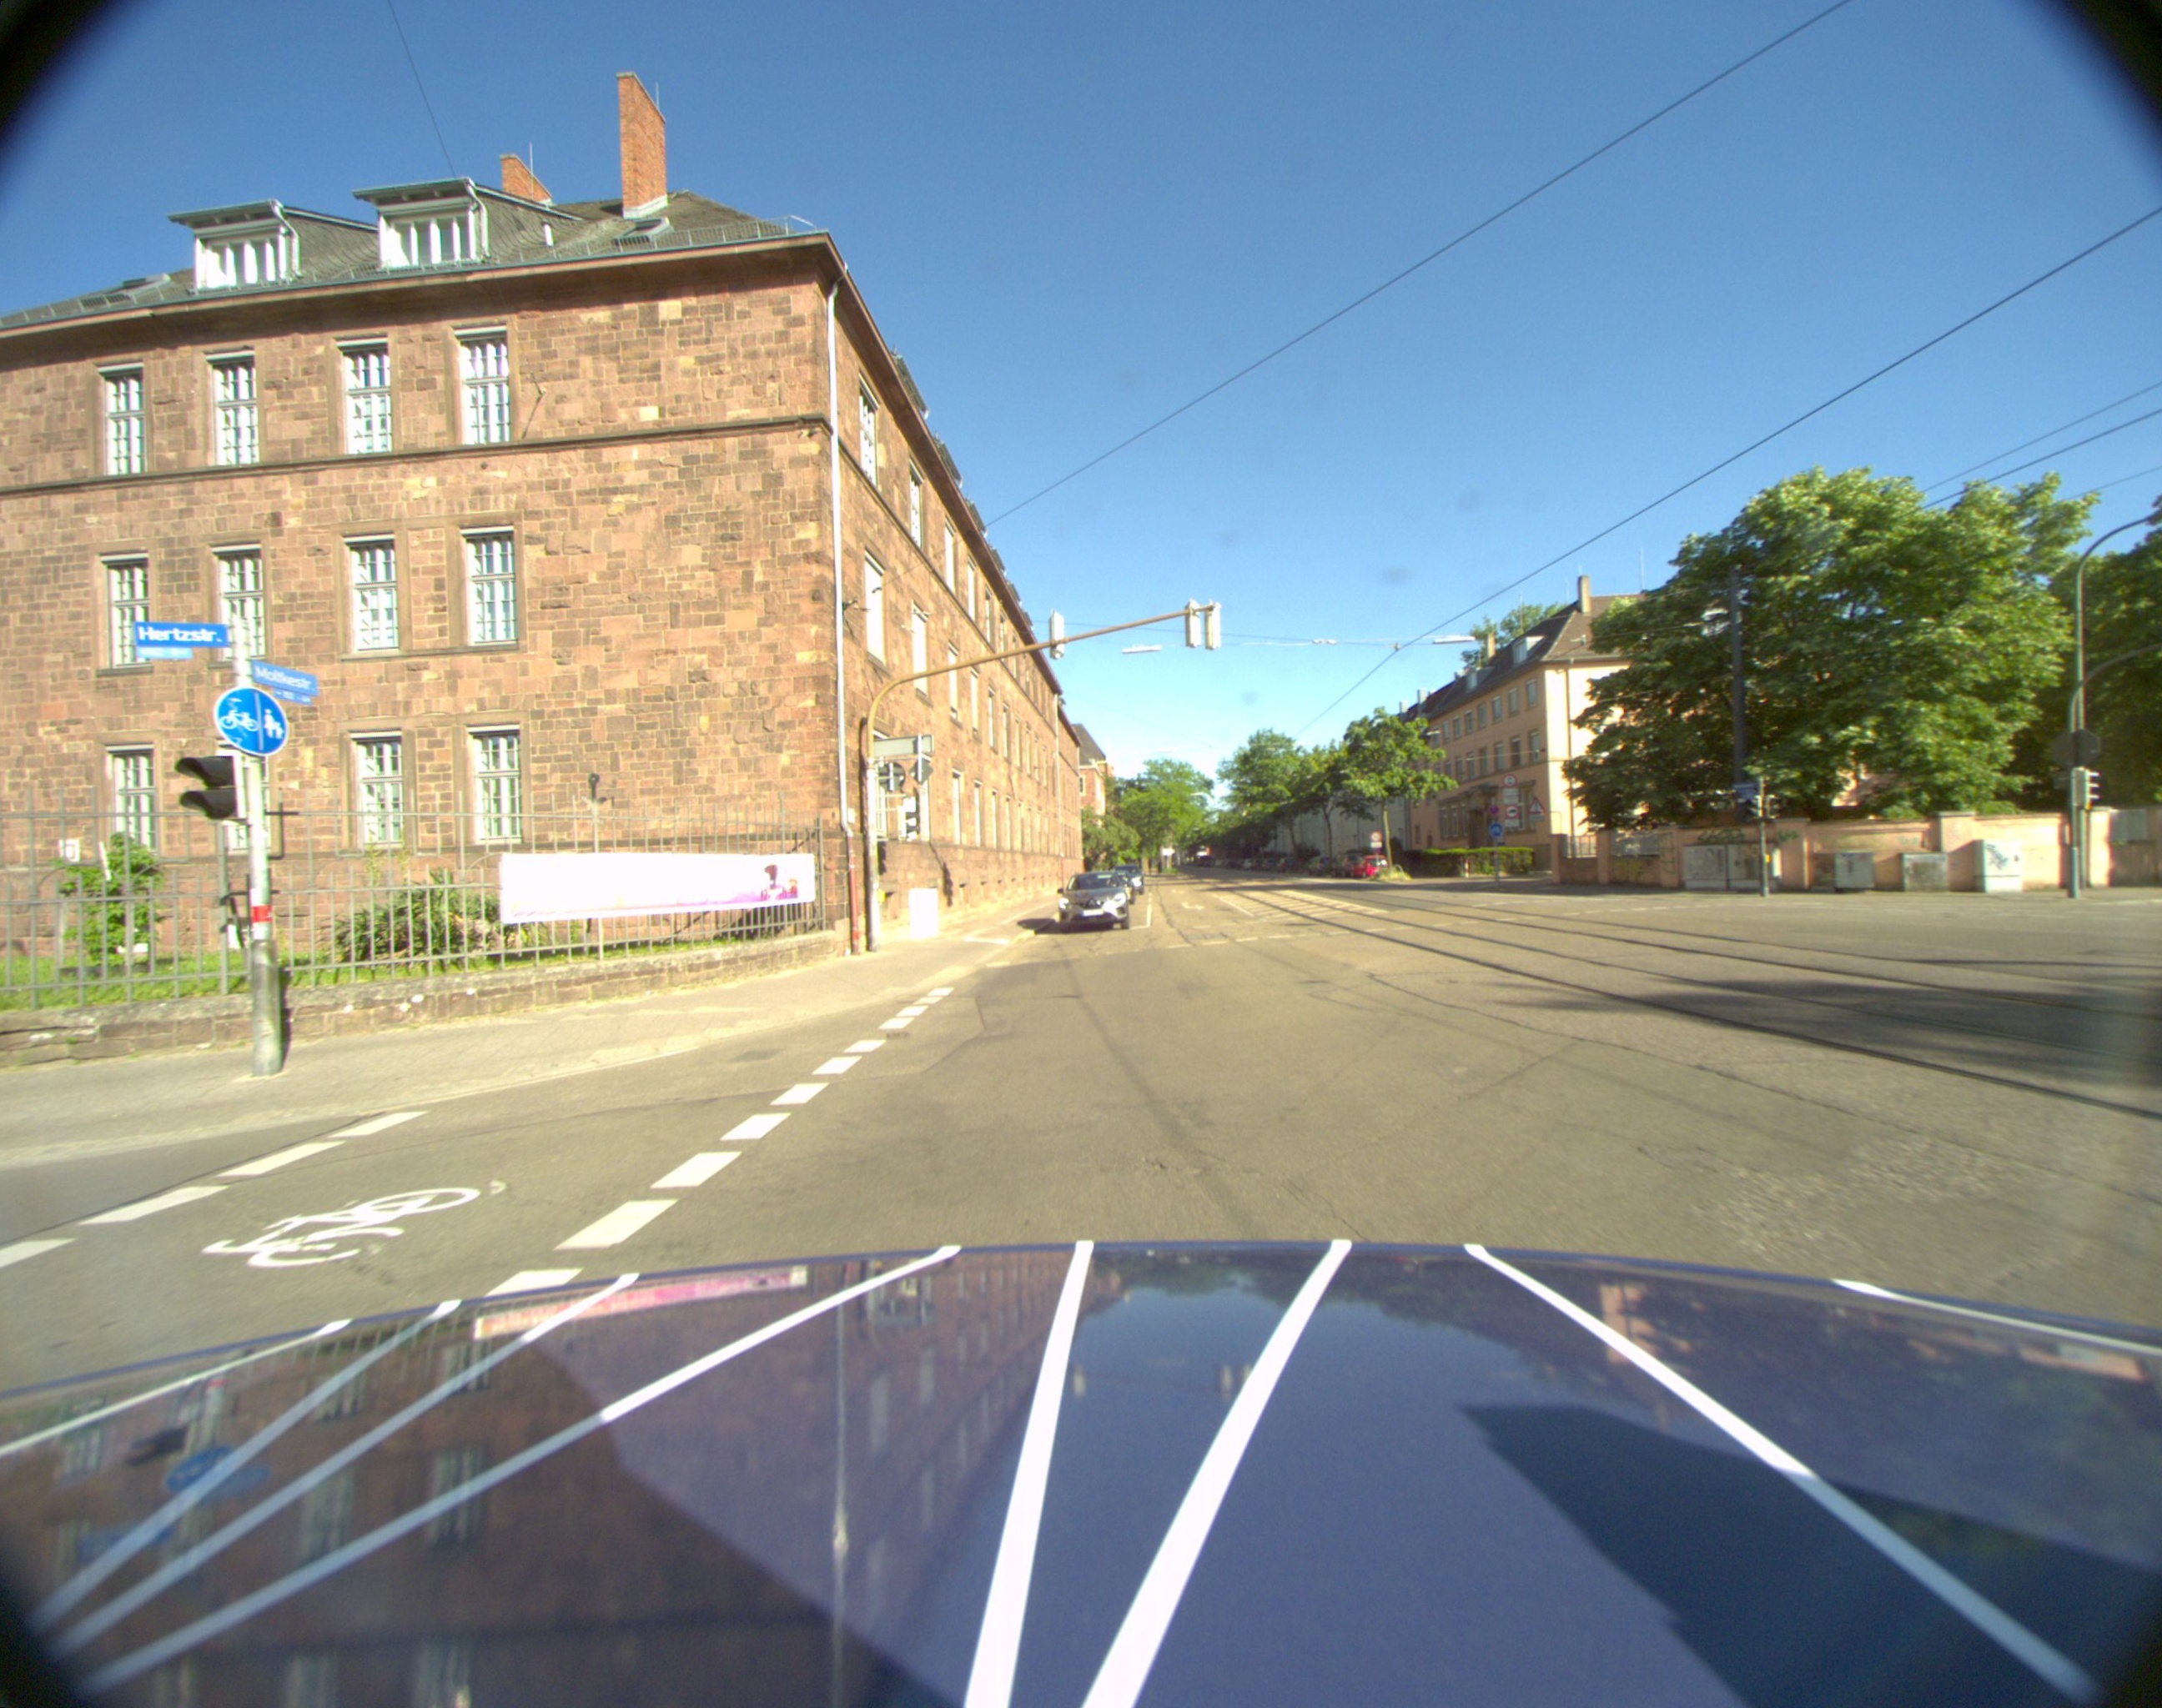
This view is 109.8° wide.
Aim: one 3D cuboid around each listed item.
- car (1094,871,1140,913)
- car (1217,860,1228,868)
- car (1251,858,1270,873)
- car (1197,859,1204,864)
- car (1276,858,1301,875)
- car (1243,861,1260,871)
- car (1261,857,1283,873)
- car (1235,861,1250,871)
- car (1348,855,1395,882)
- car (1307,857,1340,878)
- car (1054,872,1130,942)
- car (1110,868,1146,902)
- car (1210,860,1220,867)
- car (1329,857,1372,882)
[{"bbox_3d":[1.605,1.589,32.968,1.795,1.595,3.801,-3,-1,3],"label":"car"},{"bbox_3d":[29.522,2.076,158.845,1.815,1.767,3.632,-2,-1,4],"label":"car"},{"bbox_3d":[23.647,1.530,100.326,1.815,1.929,3.632,-2,-1,4],"label":"car"},{"bbox_3d":[33.787,2.142,214.840,1.815,1.410,3.631,-2,0,4],"label":"car"},{"bbox_3d":[21.660,1.299,79.393,1.815,1.589,3.632,-2,-1,4],"label":"car"},{"bbox_3d":[24.624,1.707,109.758,1.815,1.410,3.632,-2,-1,4],"label":"car"},{"bbox_3d":[22.910,1.315,91.393,1.815,1.814,3.797,-2,-1,4],"label":"car"},{"bbox_3d":[25.239,1.827,118.669,1.815,1.410,3.632,-2,-1,4],"label":"car"},{"bbox_3d":[19.081,0.944,50.030,1.816,1.696,3.375,-2,-1,2],"label":"car"},{"bbox_3d":[20.160,1.130,63.377,1.815,1.648,3.879,-2,-1,6],"label":"car"},{"bbox_3d":[0.383,1.347,20.589,1.795,1.595,3.801,-3,-1,3],"label":"car"},{"bbox_3d":[2.612,1.672,42.225,1.795,1.638,4.085,-3,-1,3],"label":"car"},{"bbox_3d":[30.002,2.043,170.434,1.815,1.514,3.632,-2,-1,4],"label":"car"},{"bbox_3d":[19.284,1.091,54.534,1.816,1.648,3.821,-2,-1,2],"label":"car"}]
